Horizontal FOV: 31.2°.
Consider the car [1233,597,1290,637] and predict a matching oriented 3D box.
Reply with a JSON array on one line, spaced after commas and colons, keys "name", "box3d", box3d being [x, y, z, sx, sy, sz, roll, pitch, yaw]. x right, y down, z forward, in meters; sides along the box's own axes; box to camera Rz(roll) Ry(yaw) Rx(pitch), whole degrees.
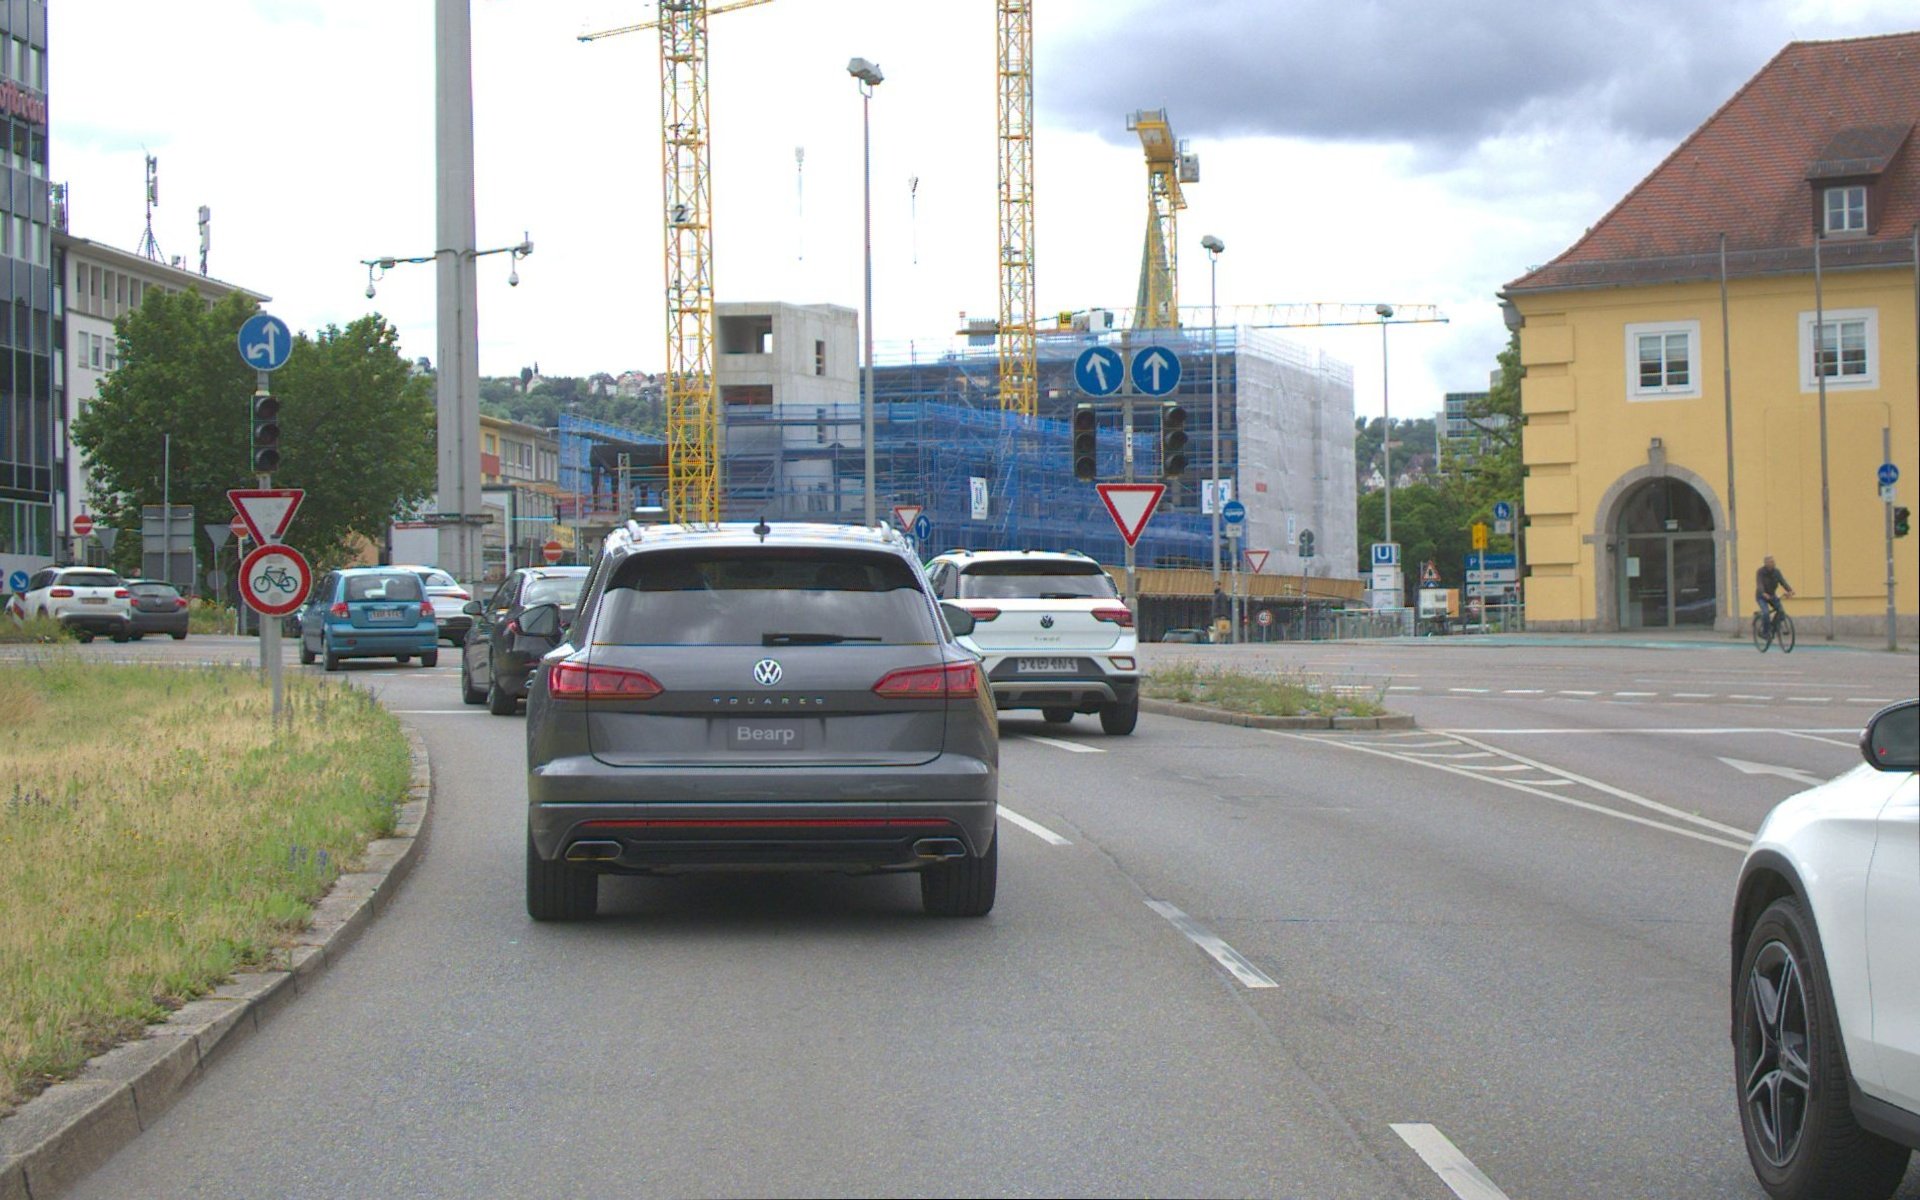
[{"name": "car", "box3d": [12.056, 0.680, 137.460, 1.804, 1.497, 3.979, 0, 1, 12]}]

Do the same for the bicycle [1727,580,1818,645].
[{"name": "bicycle", "box3d": [15.180, 0.217, 64.278, 0.923, 1.155, 2.465, 1, 1, -4]}]

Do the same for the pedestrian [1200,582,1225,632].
[{"name": "pedestrian", "box3d": [6.586, 0.187, 89.561, 0.549, 1.277, 0.462, 1, 1, 16]}]

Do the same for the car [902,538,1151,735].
[{"name": "car", "box3d": [0.508, 0.265, 29.945, 1.893, 1.580, 3.801, 0, 1, -3]}]

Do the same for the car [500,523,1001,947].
[{"name": "car", "box3d": [-0.920, 0.482, 15.337, 1.932, 1.641, 4.001, 0, 1, -3]}]

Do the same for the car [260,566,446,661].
[{"name": "car", "box3d": [-9.089, 0.174, 51.261, 1.792, 1.352, 4.071, 0, 1, -24]}]

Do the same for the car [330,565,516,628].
[{"name": "car", "box3d": [-10.103, -0.083, 64.492, 1.670, 1.135, 4.069, 0, 1, -38]}]

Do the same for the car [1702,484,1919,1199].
[{"name": "car", "box3d": [2.850, 0.605, 6.337, 1.819, 1.641, 4.379, 0, 1, -3]}]

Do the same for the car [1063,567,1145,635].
[{"name": "car", "box3d": [3.258, 0.002, 77.948, 1.803, 1.497, 3.981, 0, 1, 2]}]

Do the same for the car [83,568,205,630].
[{"name": "car", "box3d": [-19.302, -0.047, 81.242, 1.640, 1.392, 3.597, 0, 1, -34]}]

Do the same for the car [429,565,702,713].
[{"name": "car", "box3d": [-3.945, 0.336, 33.827, 1.792, 1.352, 4.071, 0, 1, -20]}]

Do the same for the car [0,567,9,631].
[{"name": "car", "box3d": [-26.760, -0.107, 89.508, 3.997, 1.605, 1.896, 5, 8, 40]}]

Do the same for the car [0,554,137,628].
[{"name": "car", "box3d": [-19.263, -0.214, 73.826, 1.814, 1.491, 3.906, 0, 1, -34]}]

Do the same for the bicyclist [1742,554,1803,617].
[{"name": "bicyclist", "box3d": [15.187, -0.278, 64.269, 0.923, 1.155, 0.725, 1, 1, -4]}]

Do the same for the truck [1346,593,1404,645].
[{"name": "truck", "box3d": [20.343, 0.903, 168.251, 2.129, 2.445, 4.824, 0, 1, 15]}]
